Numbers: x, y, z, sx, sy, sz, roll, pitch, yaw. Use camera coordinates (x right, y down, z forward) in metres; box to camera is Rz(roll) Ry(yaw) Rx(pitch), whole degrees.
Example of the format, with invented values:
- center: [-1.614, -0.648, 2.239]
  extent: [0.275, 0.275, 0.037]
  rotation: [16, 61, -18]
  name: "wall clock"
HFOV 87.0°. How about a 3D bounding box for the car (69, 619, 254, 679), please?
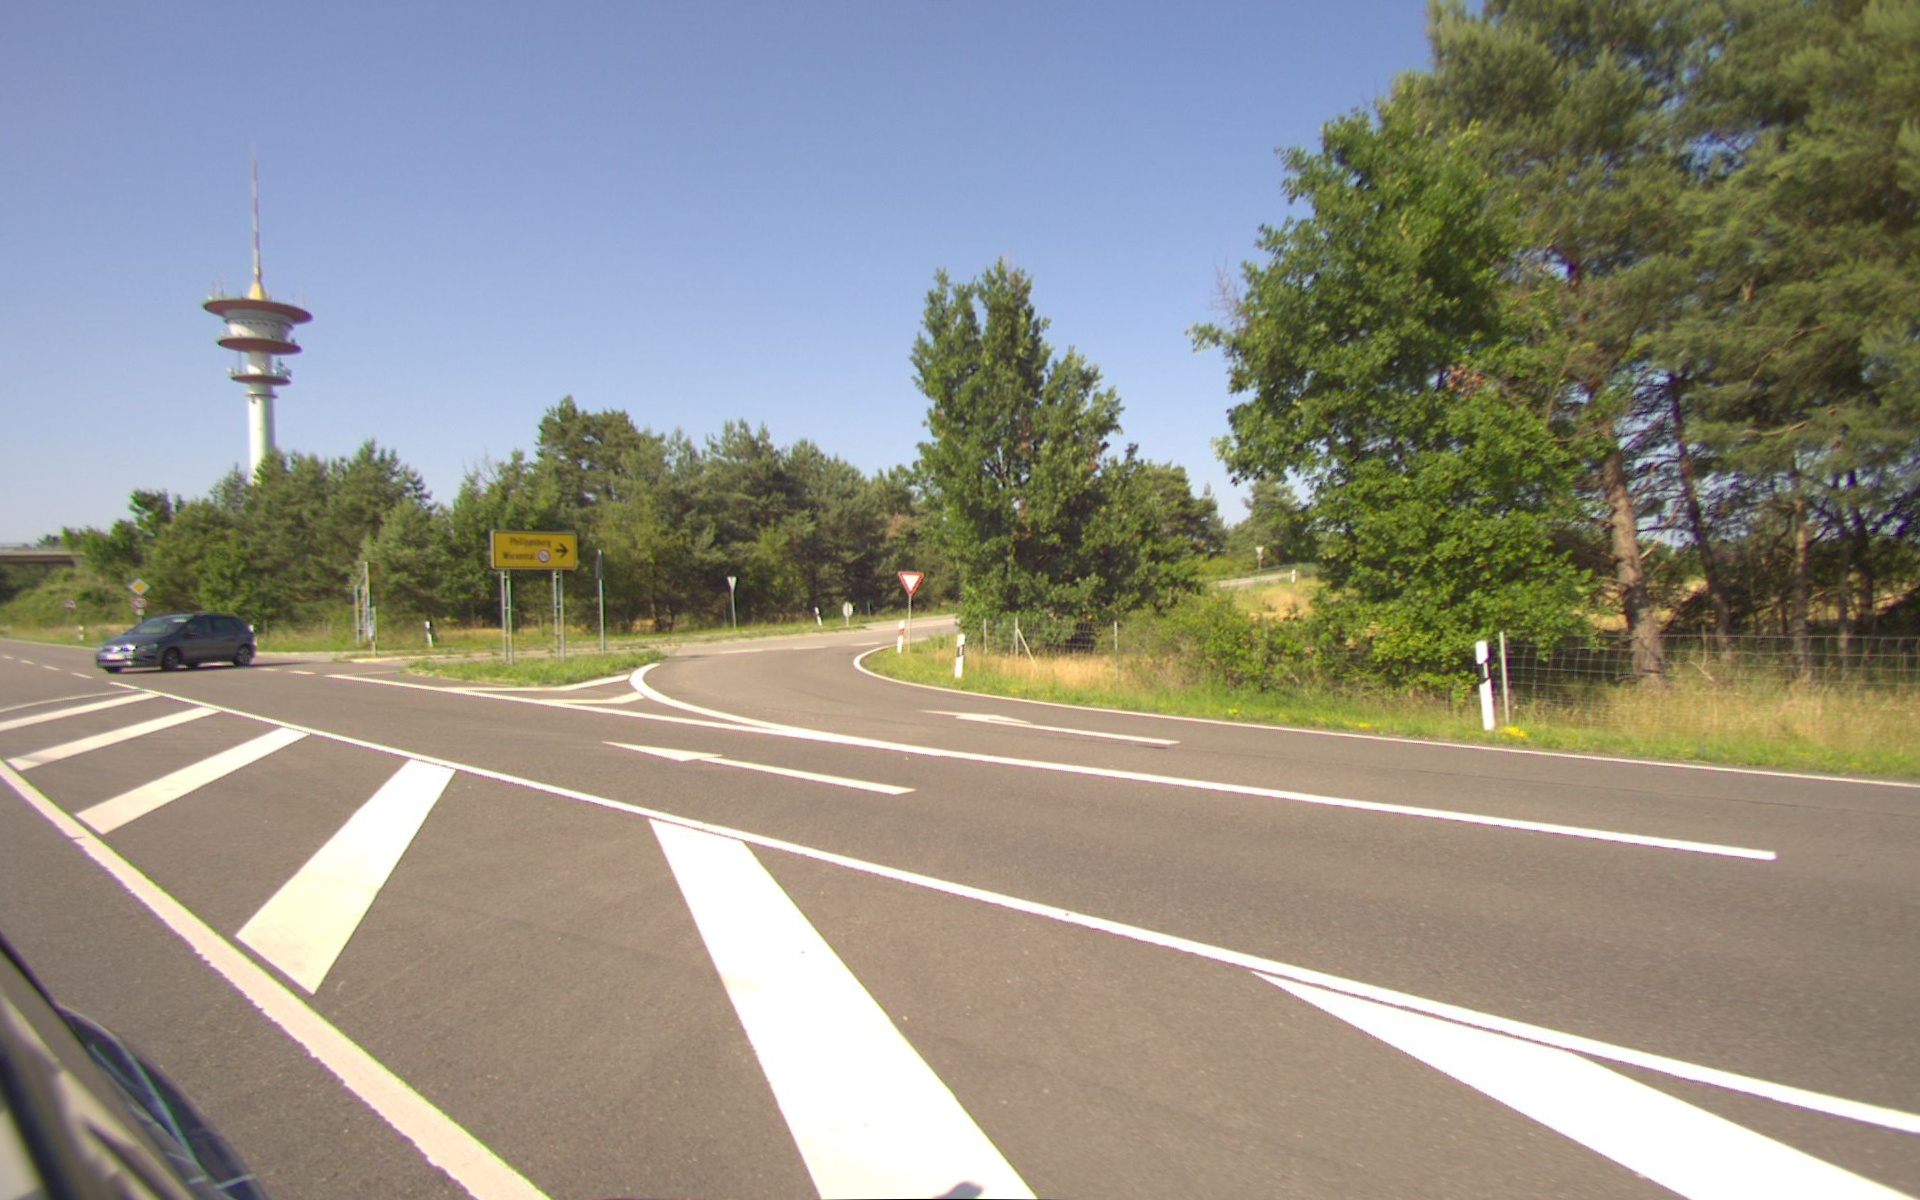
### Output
- center: [-22.116, 1.303, 28.268]
  extent: [1.845, 1.553, 4.072]
  rotation: [0, -1, 3]
  name: "car"
